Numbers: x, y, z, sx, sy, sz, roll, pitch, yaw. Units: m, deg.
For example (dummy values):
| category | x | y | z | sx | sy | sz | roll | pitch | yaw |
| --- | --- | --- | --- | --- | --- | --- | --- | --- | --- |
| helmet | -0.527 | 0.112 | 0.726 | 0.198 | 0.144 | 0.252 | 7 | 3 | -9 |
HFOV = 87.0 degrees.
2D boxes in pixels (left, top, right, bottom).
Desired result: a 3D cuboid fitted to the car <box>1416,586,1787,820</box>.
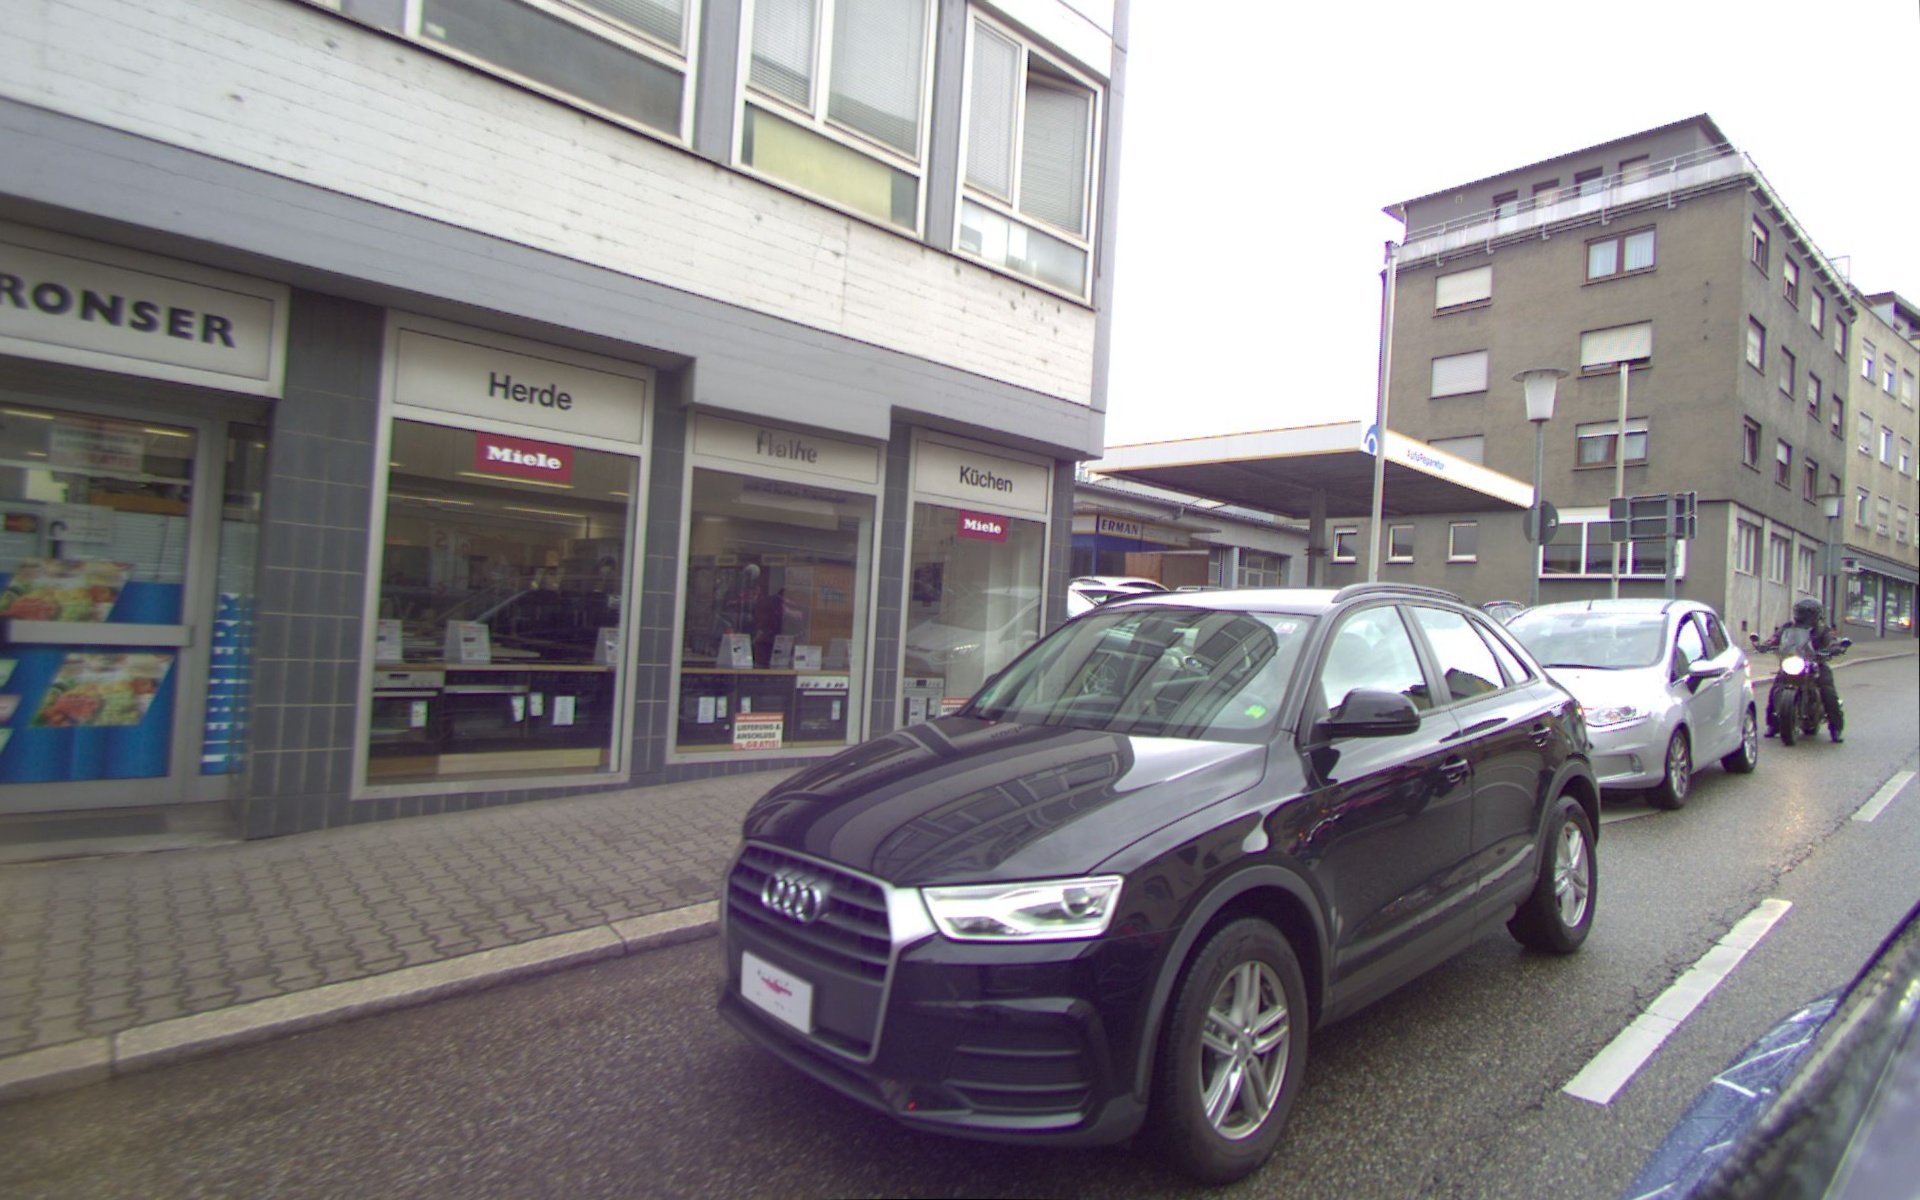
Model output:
| category | x | y | z | sx | sy | sz | roll | pitch | yaw |
| --- | --- | --- | --- | --- | --- | --- | --- | --- | --- |
| car | 5.799 | 0.726 | 8.921 | 4.182 | 1.561 | 1.827 | 0 | -3 | -45 |

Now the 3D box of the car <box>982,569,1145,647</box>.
| category | x | y | z | sx | sy | sz | roll | pitch | yaw |
| --- | --- | --- | --- | --- | --- | --- | --- | --- | --- |
| car | 2.585 | 0.166 | 24.886 | 3.879 | 1.752 | 1.792 | 0 | 1 | -40 |

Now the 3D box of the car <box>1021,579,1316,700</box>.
| category | x | y | z | sx | sy | sz | roll | pitch | yaw |
| --- | --- | --- | --- | --- | --- | --- | --- | --- | --- |
| car | 3.065 | 0.496 | 15.144 | 3.972 | 1.549 | 1.742 | 1 | 1 | 34 |

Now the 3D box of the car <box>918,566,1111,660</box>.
| category | x | y | z | sx | sy | sz | roll | pitch | yaw |
| --- | --- | --- | --- | --- | --- | --- | --- | --- | --- |
| car | 1.116 | 0.220 | 19.912 | 3.456 | 1.619 | 1.793 | 0 | 3 | -40 |

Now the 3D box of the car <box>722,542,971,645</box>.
| category | x | y | z | sx | sy | sz | roll | pitch | yaw |
| --- | --- | --- | --- | --- | --- | --- | --- | --- | --- |
| car | -1.886 | -0.127 | 17.363 | 3.879 | 1.541 | 1.793 | 0 | 3 | -40 |

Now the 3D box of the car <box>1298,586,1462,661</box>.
| category | x | y | z | sx | sy | sz | roll | pitch | yaw |
| --- | --- | --- | --- | --- | --- | --- | --- | --- | --- |
| car | 10.207 | 0.569 | 24.482 | 4.340 | 1.530 | 1.793 | 2 | 3 | -40 |

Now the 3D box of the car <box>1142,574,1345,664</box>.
| category | x | y | z | sx | sy | sz | roll | pitch | yaw |
| --- | --- | --- | --- | --- | --- | --- | --- | --- | --- |
| car | 5.927 | 0.410 | 20.927 | 4.411 | 1.563 | 1.793 | 2 | 3 | -40 |

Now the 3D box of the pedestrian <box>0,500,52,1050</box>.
| category | x | y | z | sx | sy | sz | roll | pitch | yaw |
| --- | --- | --- | --- | --- | --- | --- | --- | --- | --- |
| pedestrian | -3.564 | 0.530 | 3.132 | 1.102 | 1.726 | 0.785 | 0 | 3 | -44 |

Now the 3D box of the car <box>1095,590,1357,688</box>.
| category | x | y | z | sx | sy | sz | roll | pitch | yaw |
| --- | --- | --- | --- | --- | --- | --- | --- | --- | --- |
| car | 4.444 | 0.572 | 17.120 | 3.975 | 1.418 | 1.650 | 1 | 1 | 36 |

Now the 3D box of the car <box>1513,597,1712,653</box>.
| category | x | y | z | sx | sy | sz | roll | pitch | yaw |
| --- | --- | --- | --- | --- | --- | --- | --- | --- | --- |
| car | 19.092 | 0.711 | 29.796 | 1.963 | 1.523 | 4.533 | 0 | -1 | -36 |

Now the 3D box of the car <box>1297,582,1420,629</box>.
| category | x | y | z | sx | sy | sz | roll | pitch | yaw |
| --- | --- | --- | --- | --- | --- | --- | --- | --- | --- |
| car | 14.400 | 0.184 | 36.721 | 1.761 | 1.472 | 3.753 | 3 | 0 | -38 |

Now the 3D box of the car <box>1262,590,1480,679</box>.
| category | x | y | z | sx | sy | sz | roll | pitch | yaw |
| --- | --- | --- | --- | --- | --- | --- | --- | --- | --- |
| car | 7.825 | 0.582 | 19.086 | 4.531 | 1.433 | 1.793 | 0 | 2 | -39 |

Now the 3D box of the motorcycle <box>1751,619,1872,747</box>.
| category | x | y | z | sx | sy | sz | roll | pitch | yaw |
| --- | --- | --- | --- | --- | --- | --- | --- | --- | --- |
| motorcycle | 9.502 | 0.859 | 11.258 | 0.844 | 1.241 | 2.335 | -3 | -2 | 44 |

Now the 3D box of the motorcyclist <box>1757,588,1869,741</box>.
| category | x | y | z | sx | sy | sz | roll | pitch | yaw |
| --- | --- | --- | --- | --- | --- | --- | --- | --- | --- |
| motorcyclist | 9.485 | 0.686 | 11.246 | 0.844 | 1.610 | 0.947 | -3 | -2 | 44 |

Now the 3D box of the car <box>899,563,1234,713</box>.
| category | x | y | z | sx | sy | sz | roll | pitch | yaw |
| --- | --- | --- | --- | --- | --- | --- | --- | --- | --- |
| car | 1.344 | 0.389 | 13.341 | 3.973 | 1.468 | 1.778 | 5 | 3 | 33 |

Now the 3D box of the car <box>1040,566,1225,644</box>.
| category | x | y | z | sx | sy | sz | roll | pitch | yaw |
| --- | --- | --- | --- | --- | --- | --- | --- | --- | --- |
| car | 4.008 | 0.089 | 23.107 | 4.340 | 1.620 | 1.792 | 0 | 1 | -40 |

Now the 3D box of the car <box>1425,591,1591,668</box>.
| category | x | y | z | sx | sy | sz | roll | pitch | yaw |
| --- | --- | --- | --- | --- | --- | --- | --- | --- | --- |
| car | 12.284 | 0.607 | 22.570 | 4.359 | 1.531 | 1.792 | 0 | 1 | -40 |

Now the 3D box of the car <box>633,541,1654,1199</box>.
| category | x | y | z | sx | sy | sz | roll | pitch | yaw |
| --- | --- | --- | --- | --- | --- | --- | --- | --- | --- |
| car | 1.053 | 0.680 | 4.062 | 4.127 | 1.580 | 1.826 | 0 | -1 | -41 |
